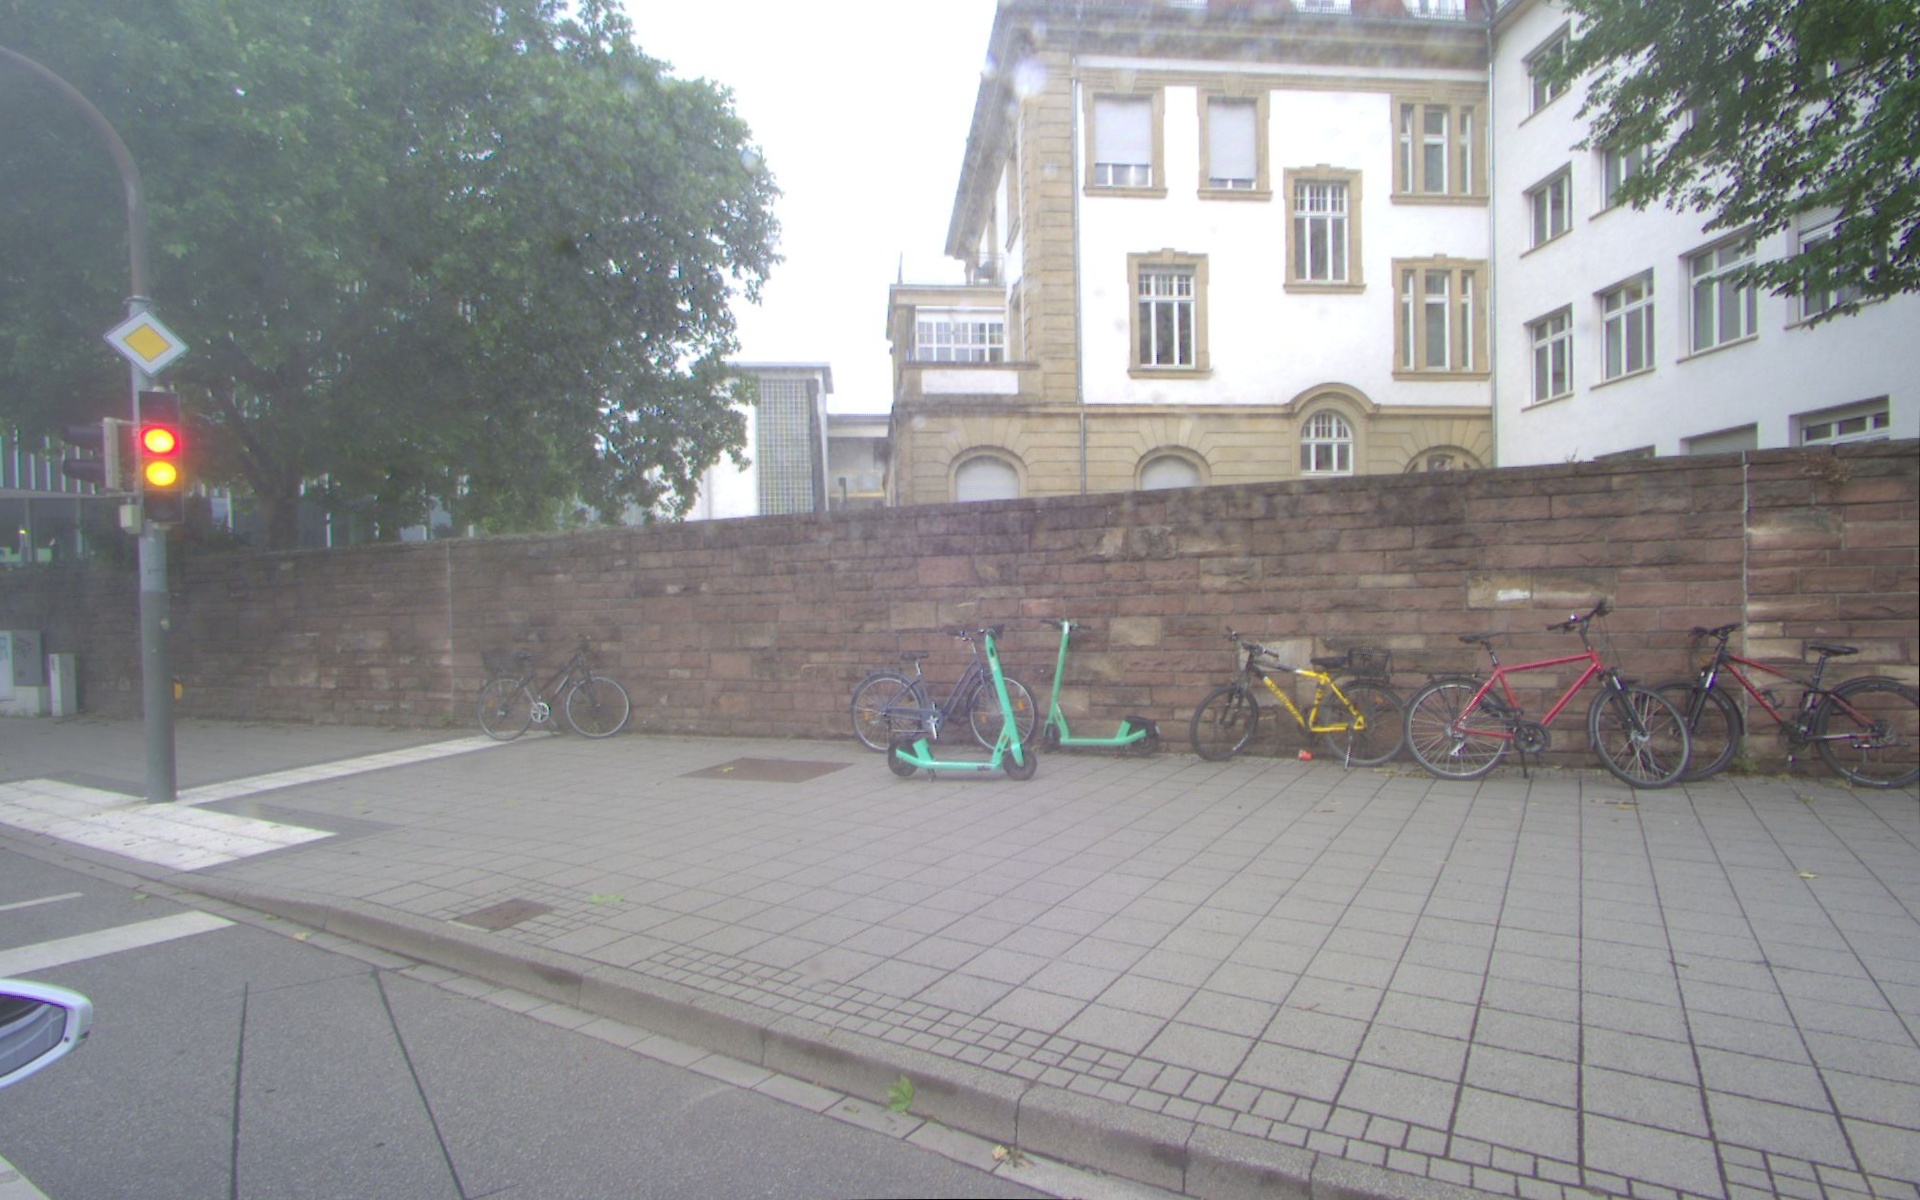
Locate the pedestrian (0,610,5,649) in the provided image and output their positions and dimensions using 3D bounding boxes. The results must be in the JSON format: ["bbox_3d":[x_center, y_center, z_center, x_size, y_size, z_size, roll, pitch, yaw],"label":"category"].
[{"bbox_3d":[-51.299,1.549,52.794,1.169,2.088,1.129,1,-1,-33],"label":"pedestrian"}]

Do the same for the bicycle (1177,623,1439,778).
[{"bbox_3d":[2.687,0.768,7.884,1.905,1.158,0.386,-1,-1,12],"label":"bicycle"}]

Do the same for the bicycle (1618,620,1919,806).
[{"bbox_3d":[5.458,0.713,6.539,1.907,1.158,0.339,-1,-1,17],"label":"bicycle"}]

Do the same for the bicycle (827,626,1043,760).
[{"bbox_3d":[-0.229,0.815,9.002,1.905,1.158,0.386,-1,-1,12],"label":"bicycle"}]

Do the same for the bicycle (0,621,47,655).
[{"bbox_3d":[-39.995,1.602,42.417,0.633,1.324,2.007,0,2,7],"label":"bicycle"}]

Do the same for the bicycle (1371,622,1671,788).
[{"bbox_3d":[3.989,0.740,7.185,1.904,1.158,0.386,0,-1,1],"label":"bicycle"}]

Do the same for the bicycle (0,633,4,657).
[{"bbox_3d":[-41.394,1.934,41.882,0.766,1.019,2.192,-1,0,-1],"label":"bicycle"}]
